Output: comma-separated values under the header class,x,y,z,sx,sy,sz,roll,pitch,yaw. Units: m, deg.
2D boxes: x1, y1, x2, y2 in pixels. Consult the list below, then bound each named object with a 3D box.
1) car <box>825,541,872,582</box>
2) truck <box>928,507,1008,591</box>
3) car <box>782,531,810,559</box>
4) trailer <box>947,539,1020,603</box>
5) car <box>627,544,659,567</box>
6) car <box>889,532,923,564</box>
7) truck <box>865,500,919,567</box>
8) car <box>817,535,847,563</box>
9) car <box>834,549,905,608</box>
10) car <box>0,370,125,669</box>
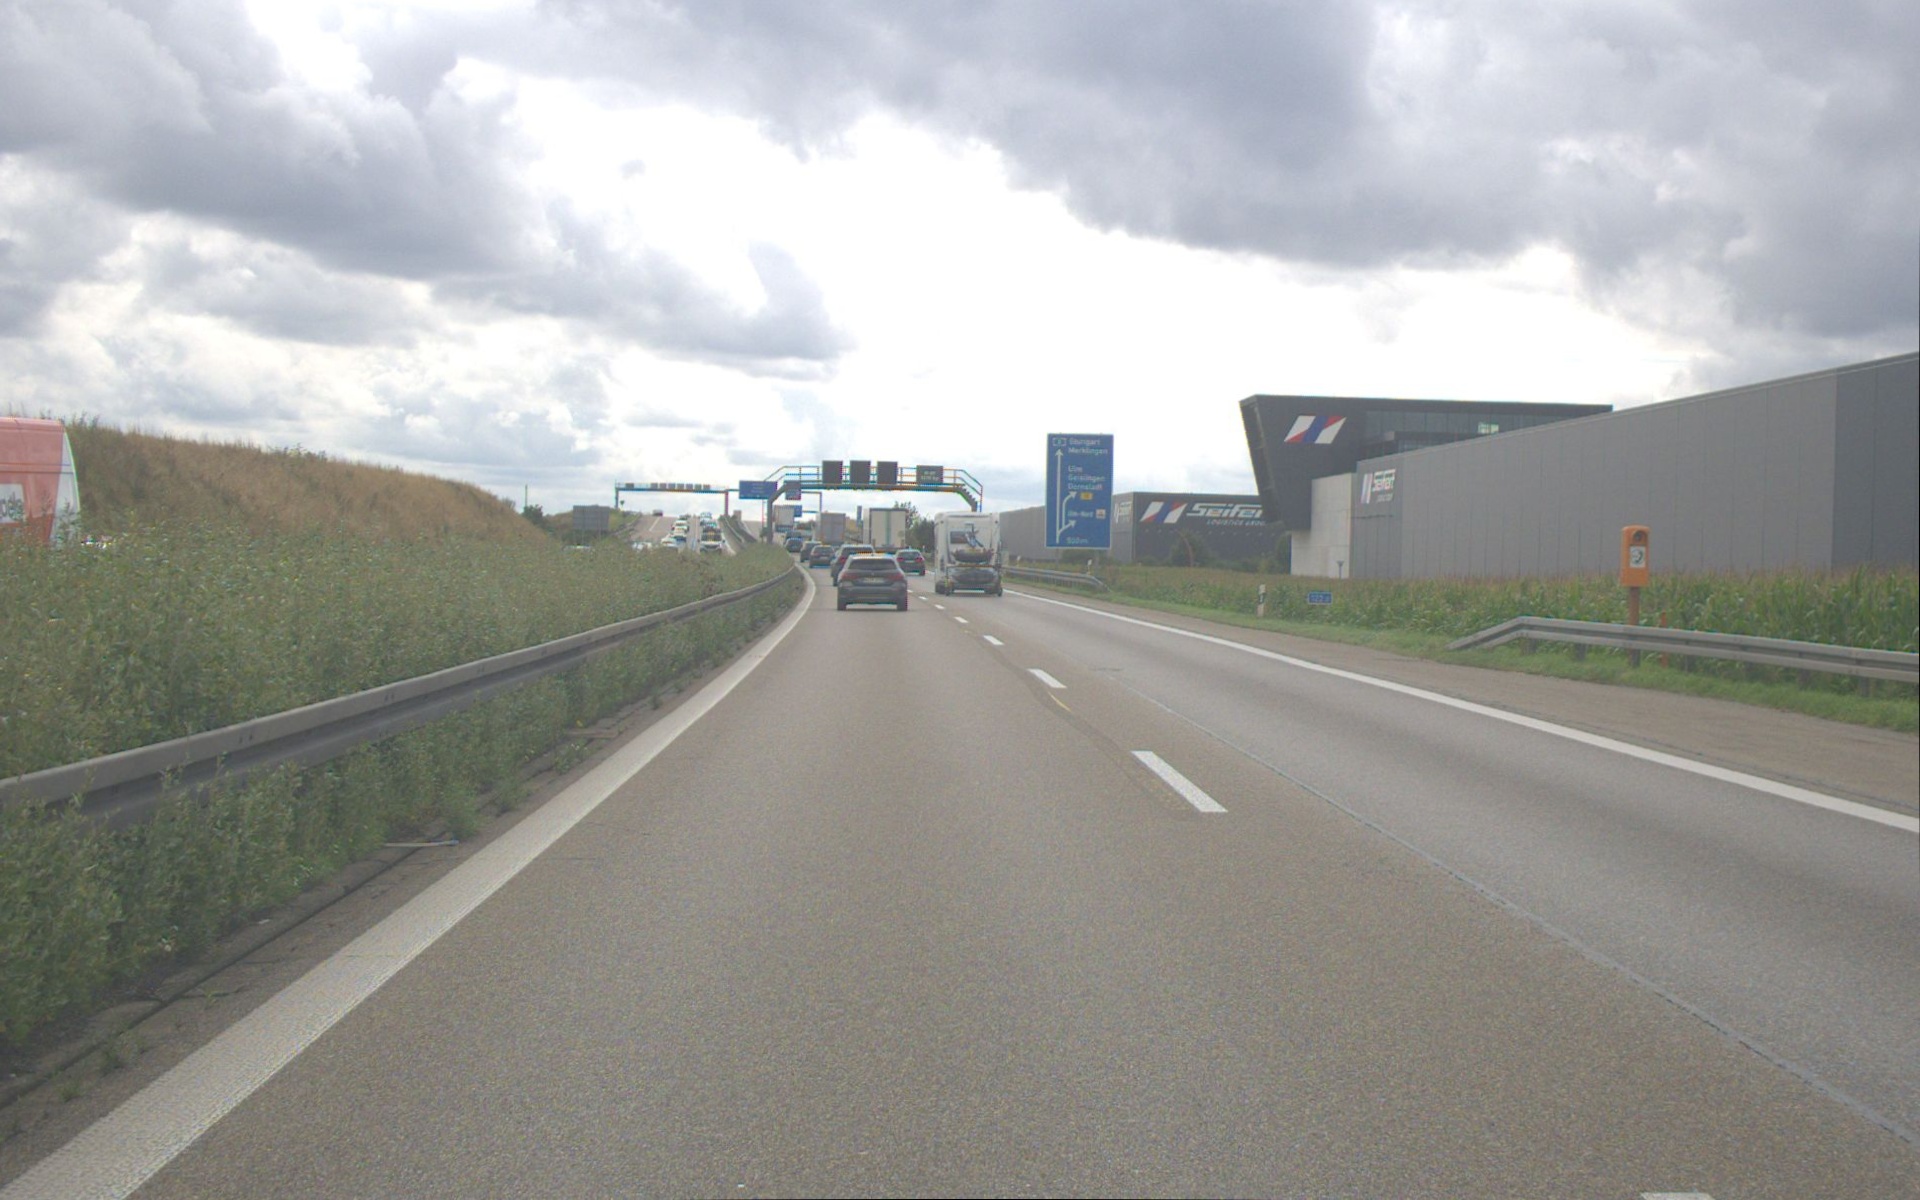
class,x,y,z,sx,sy,sz,roll,pitch,yaw
car,-4.690,-1.618,144.886,1.945,1.679,4.000,1,1,-1
truck,0.258,-1.834,124.723,2.481,2.940,5.815,1,1,-4
car,-12.297,-4.127,258.001,1.993,2.007,4.000,1,1,-1
trailer,0.775,-0.992,118.012,2.338,2.129,4.000,1,1,-1
car,-20.220,-2.837,219.167,1.724,1.399,4.342,1,1,-2
car,-3.026,-2.881,191.244,1.801,1.679,4.000,1,1,-2
truck,-4.739,-4.557,237.544,3.339,4.518,8.018,1,0,-4
car,-8.388,-3.346,225.656,1.943,1.769,3.696,1,1,-2
car,-2.322,-0.569,88.192,1.746,1.448,4.000,1,1,-1
car,-8.343,-0.639,27.279,2.124,2.259,5.453,1,1,-1
